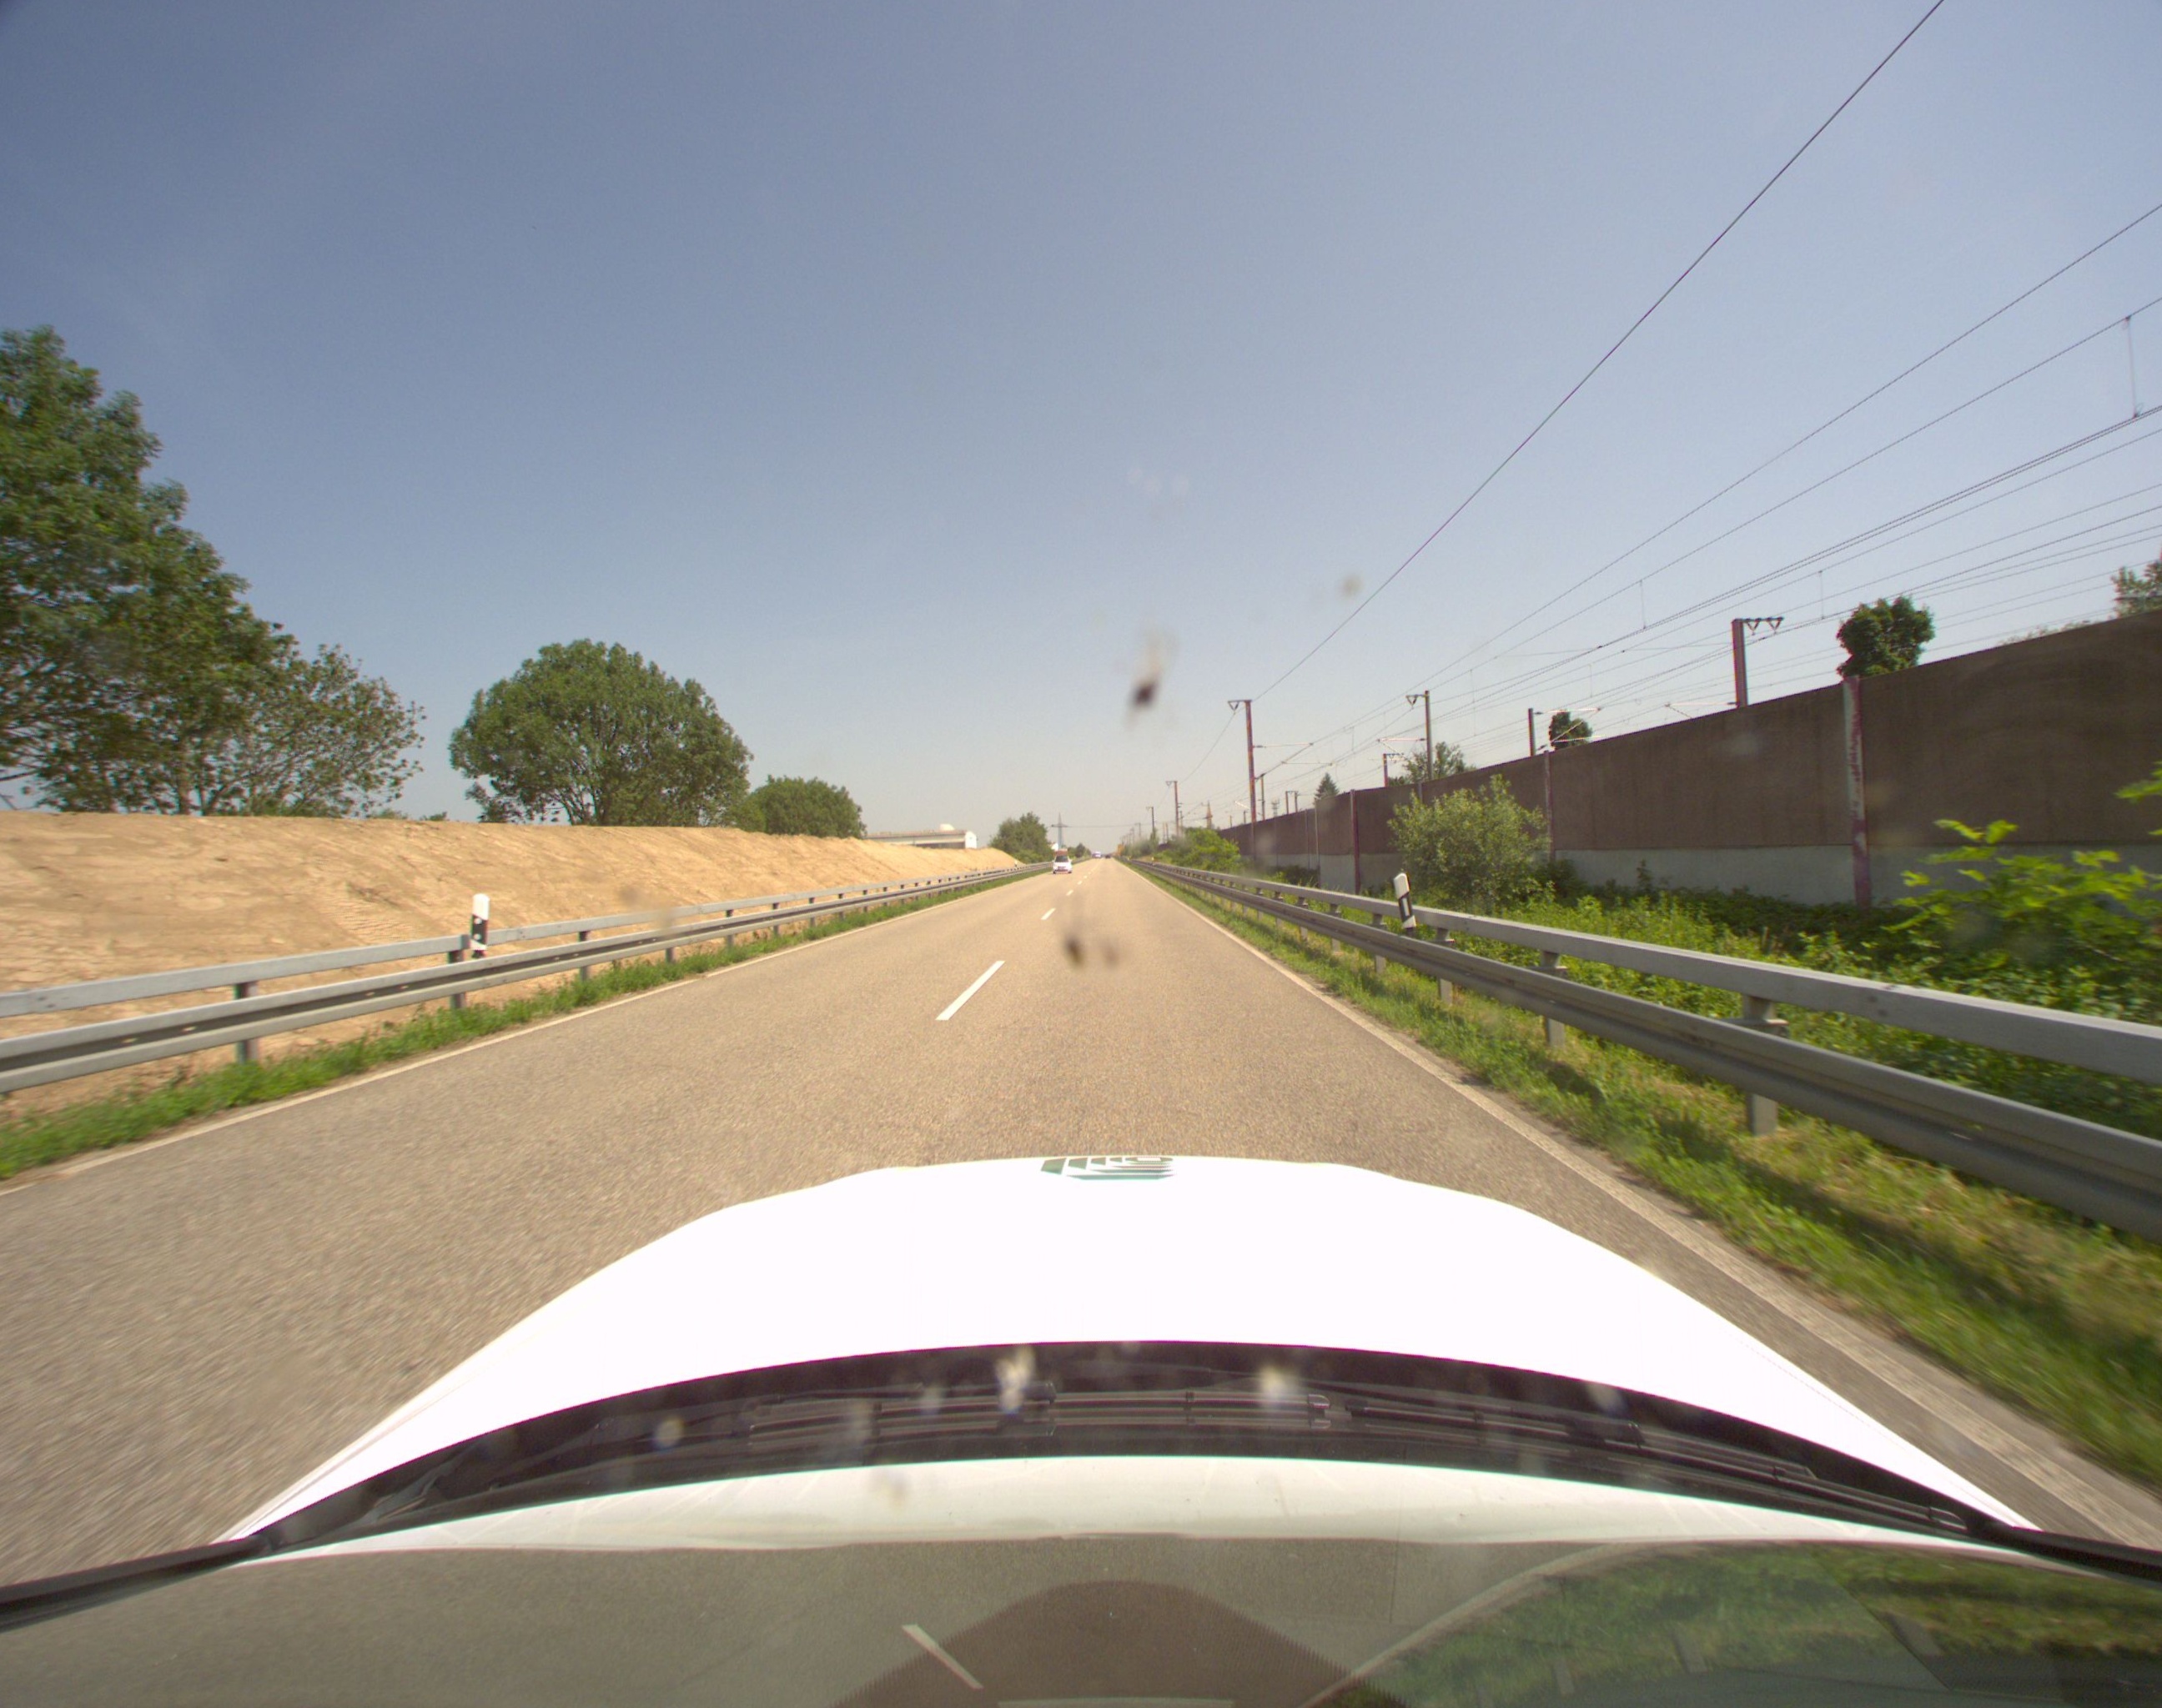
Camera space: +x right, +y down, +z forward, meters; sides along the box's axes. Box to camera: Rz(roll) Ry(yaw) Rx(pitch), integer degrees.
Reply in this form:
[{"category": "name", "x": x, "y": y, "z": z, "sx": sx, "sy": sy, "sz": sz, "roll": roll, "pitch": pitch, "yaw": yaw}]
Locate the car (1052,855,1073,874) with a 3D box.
[{"category": "car", "x": -1.602, "y": 0.887, "z": 70.384, "sx": 1.590, "sy": 1.576, "sz": 3.829, "roll": -2, "pitch": 0, "yaw": 1}]
